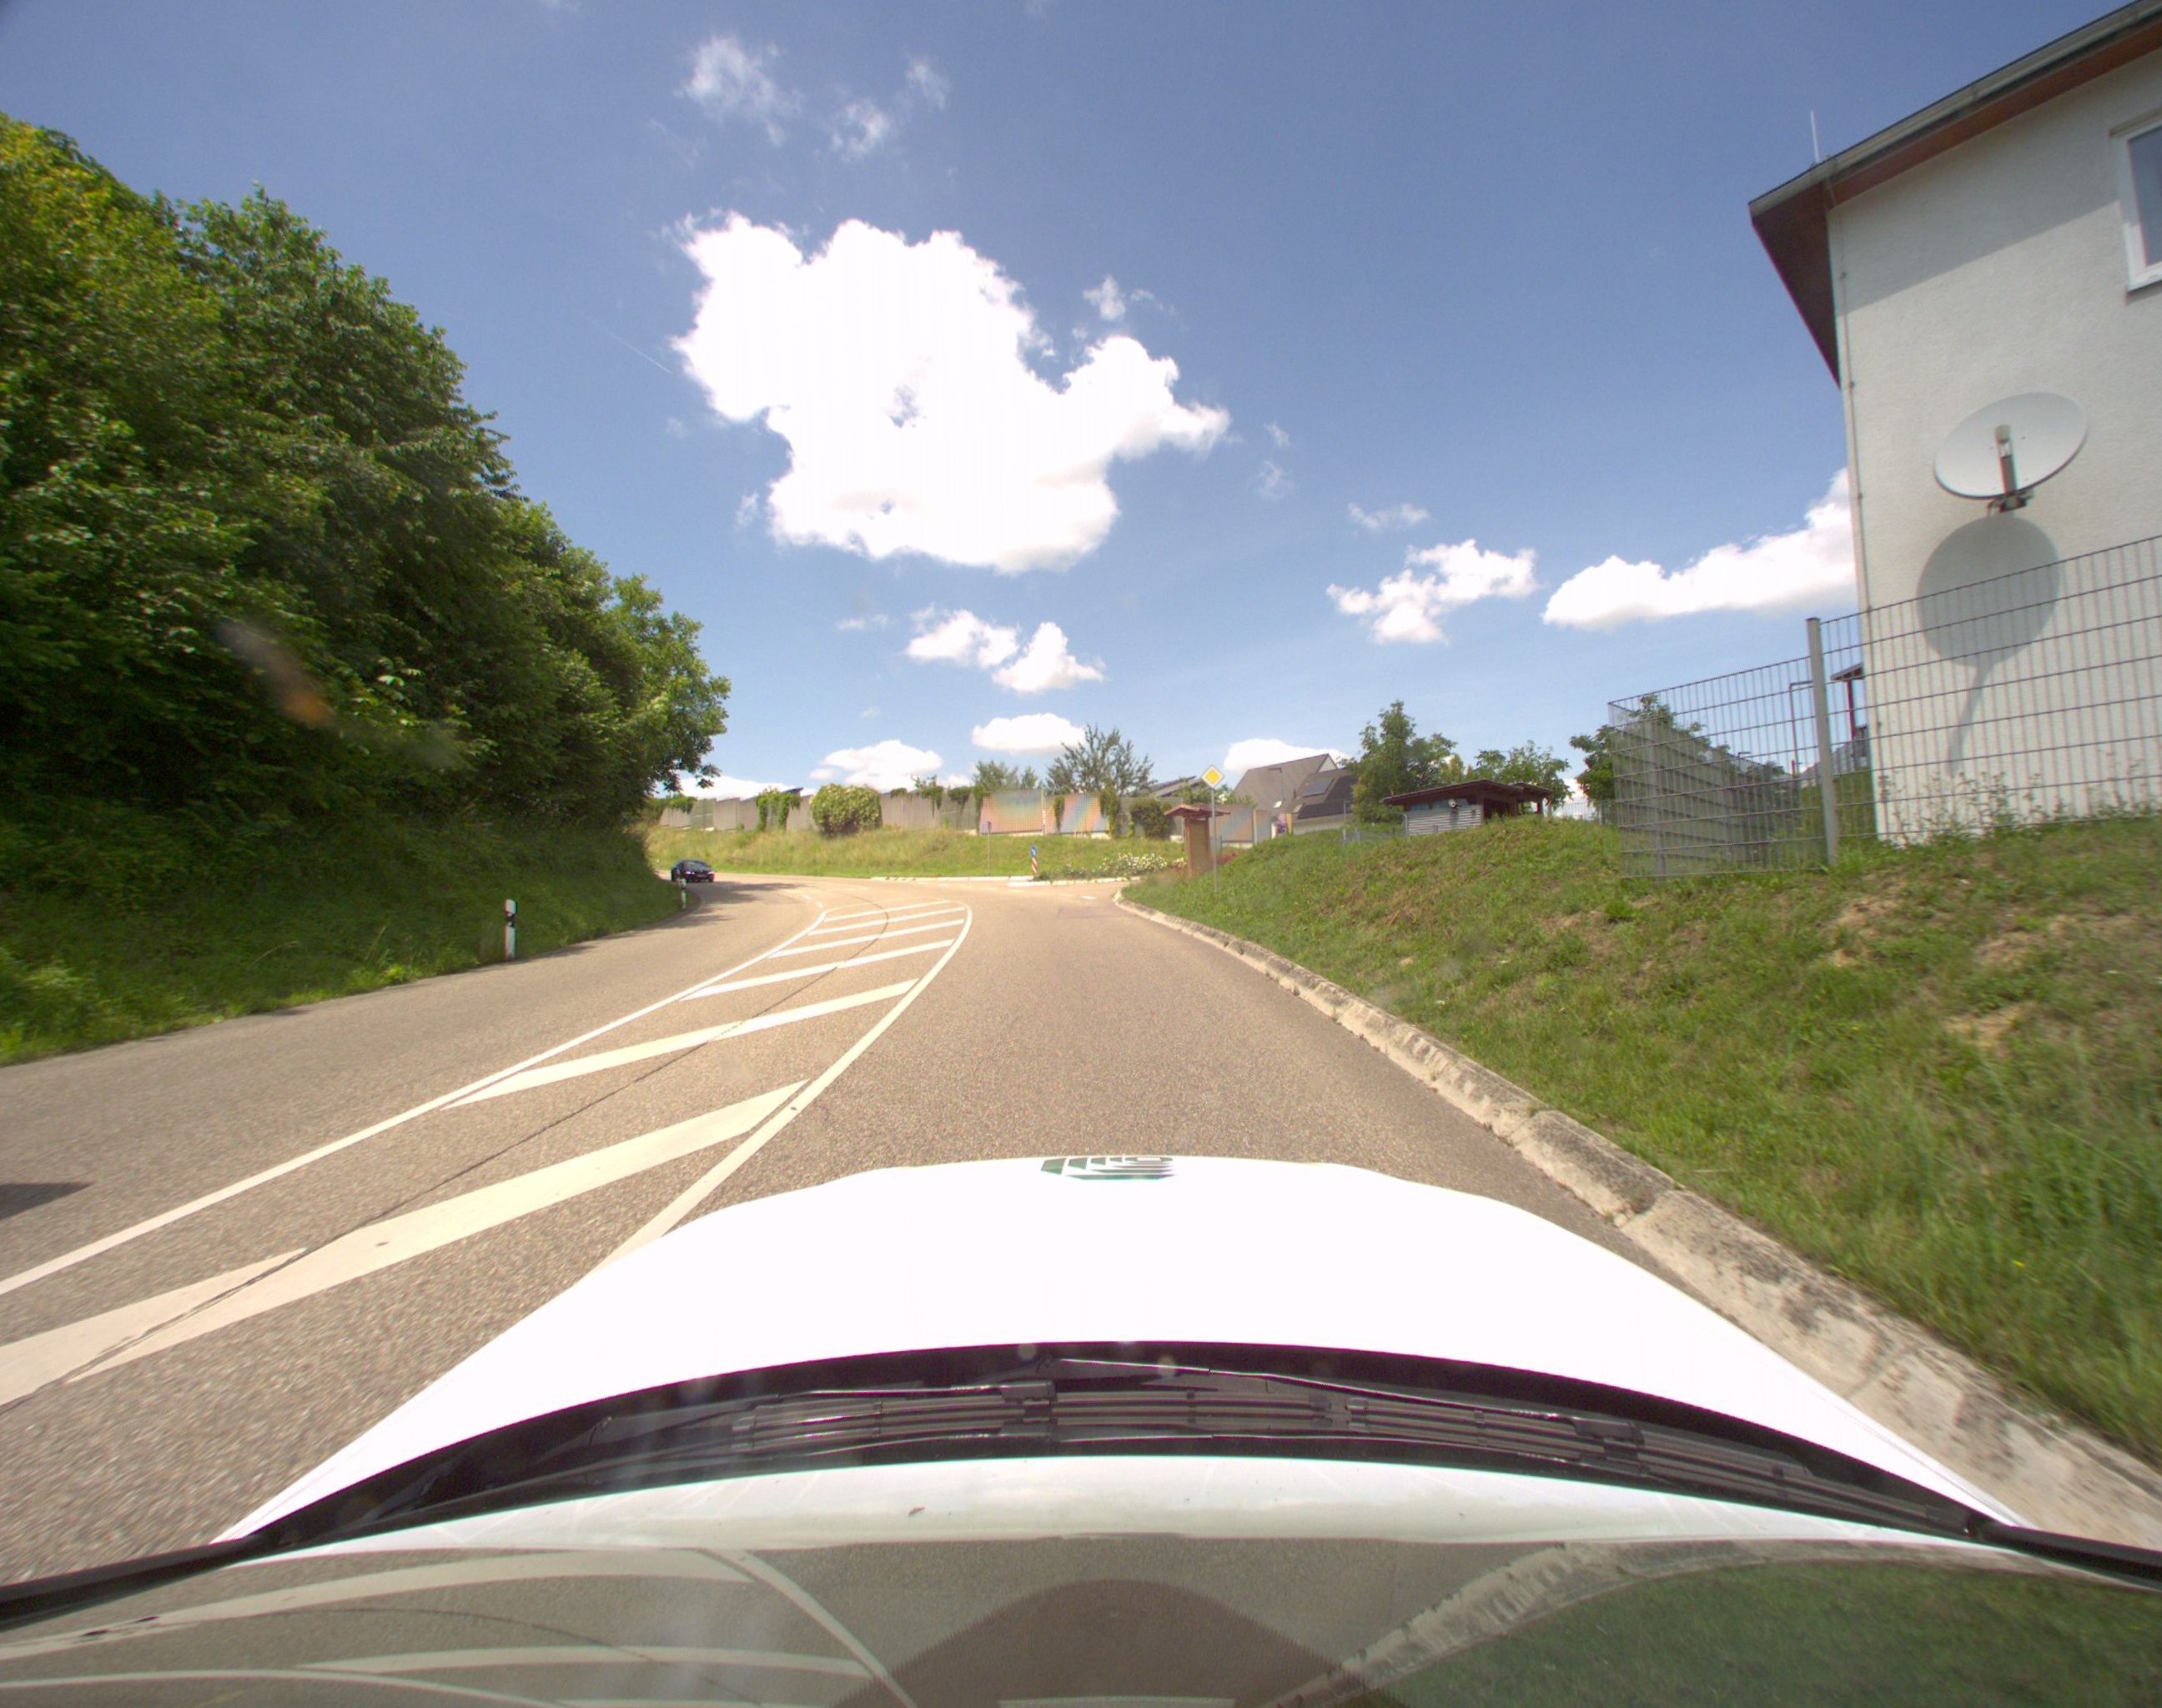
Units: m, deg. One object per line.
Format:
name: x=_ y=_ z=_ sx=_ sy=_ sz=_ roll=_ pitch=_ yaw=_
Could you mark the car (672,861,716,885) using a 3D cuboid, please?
car: x=-24.277 y=1.202 z=51.066 sx=1.698 sy=1.419 sz=4.296 roll=-2 pitch=0 yaw=-36
